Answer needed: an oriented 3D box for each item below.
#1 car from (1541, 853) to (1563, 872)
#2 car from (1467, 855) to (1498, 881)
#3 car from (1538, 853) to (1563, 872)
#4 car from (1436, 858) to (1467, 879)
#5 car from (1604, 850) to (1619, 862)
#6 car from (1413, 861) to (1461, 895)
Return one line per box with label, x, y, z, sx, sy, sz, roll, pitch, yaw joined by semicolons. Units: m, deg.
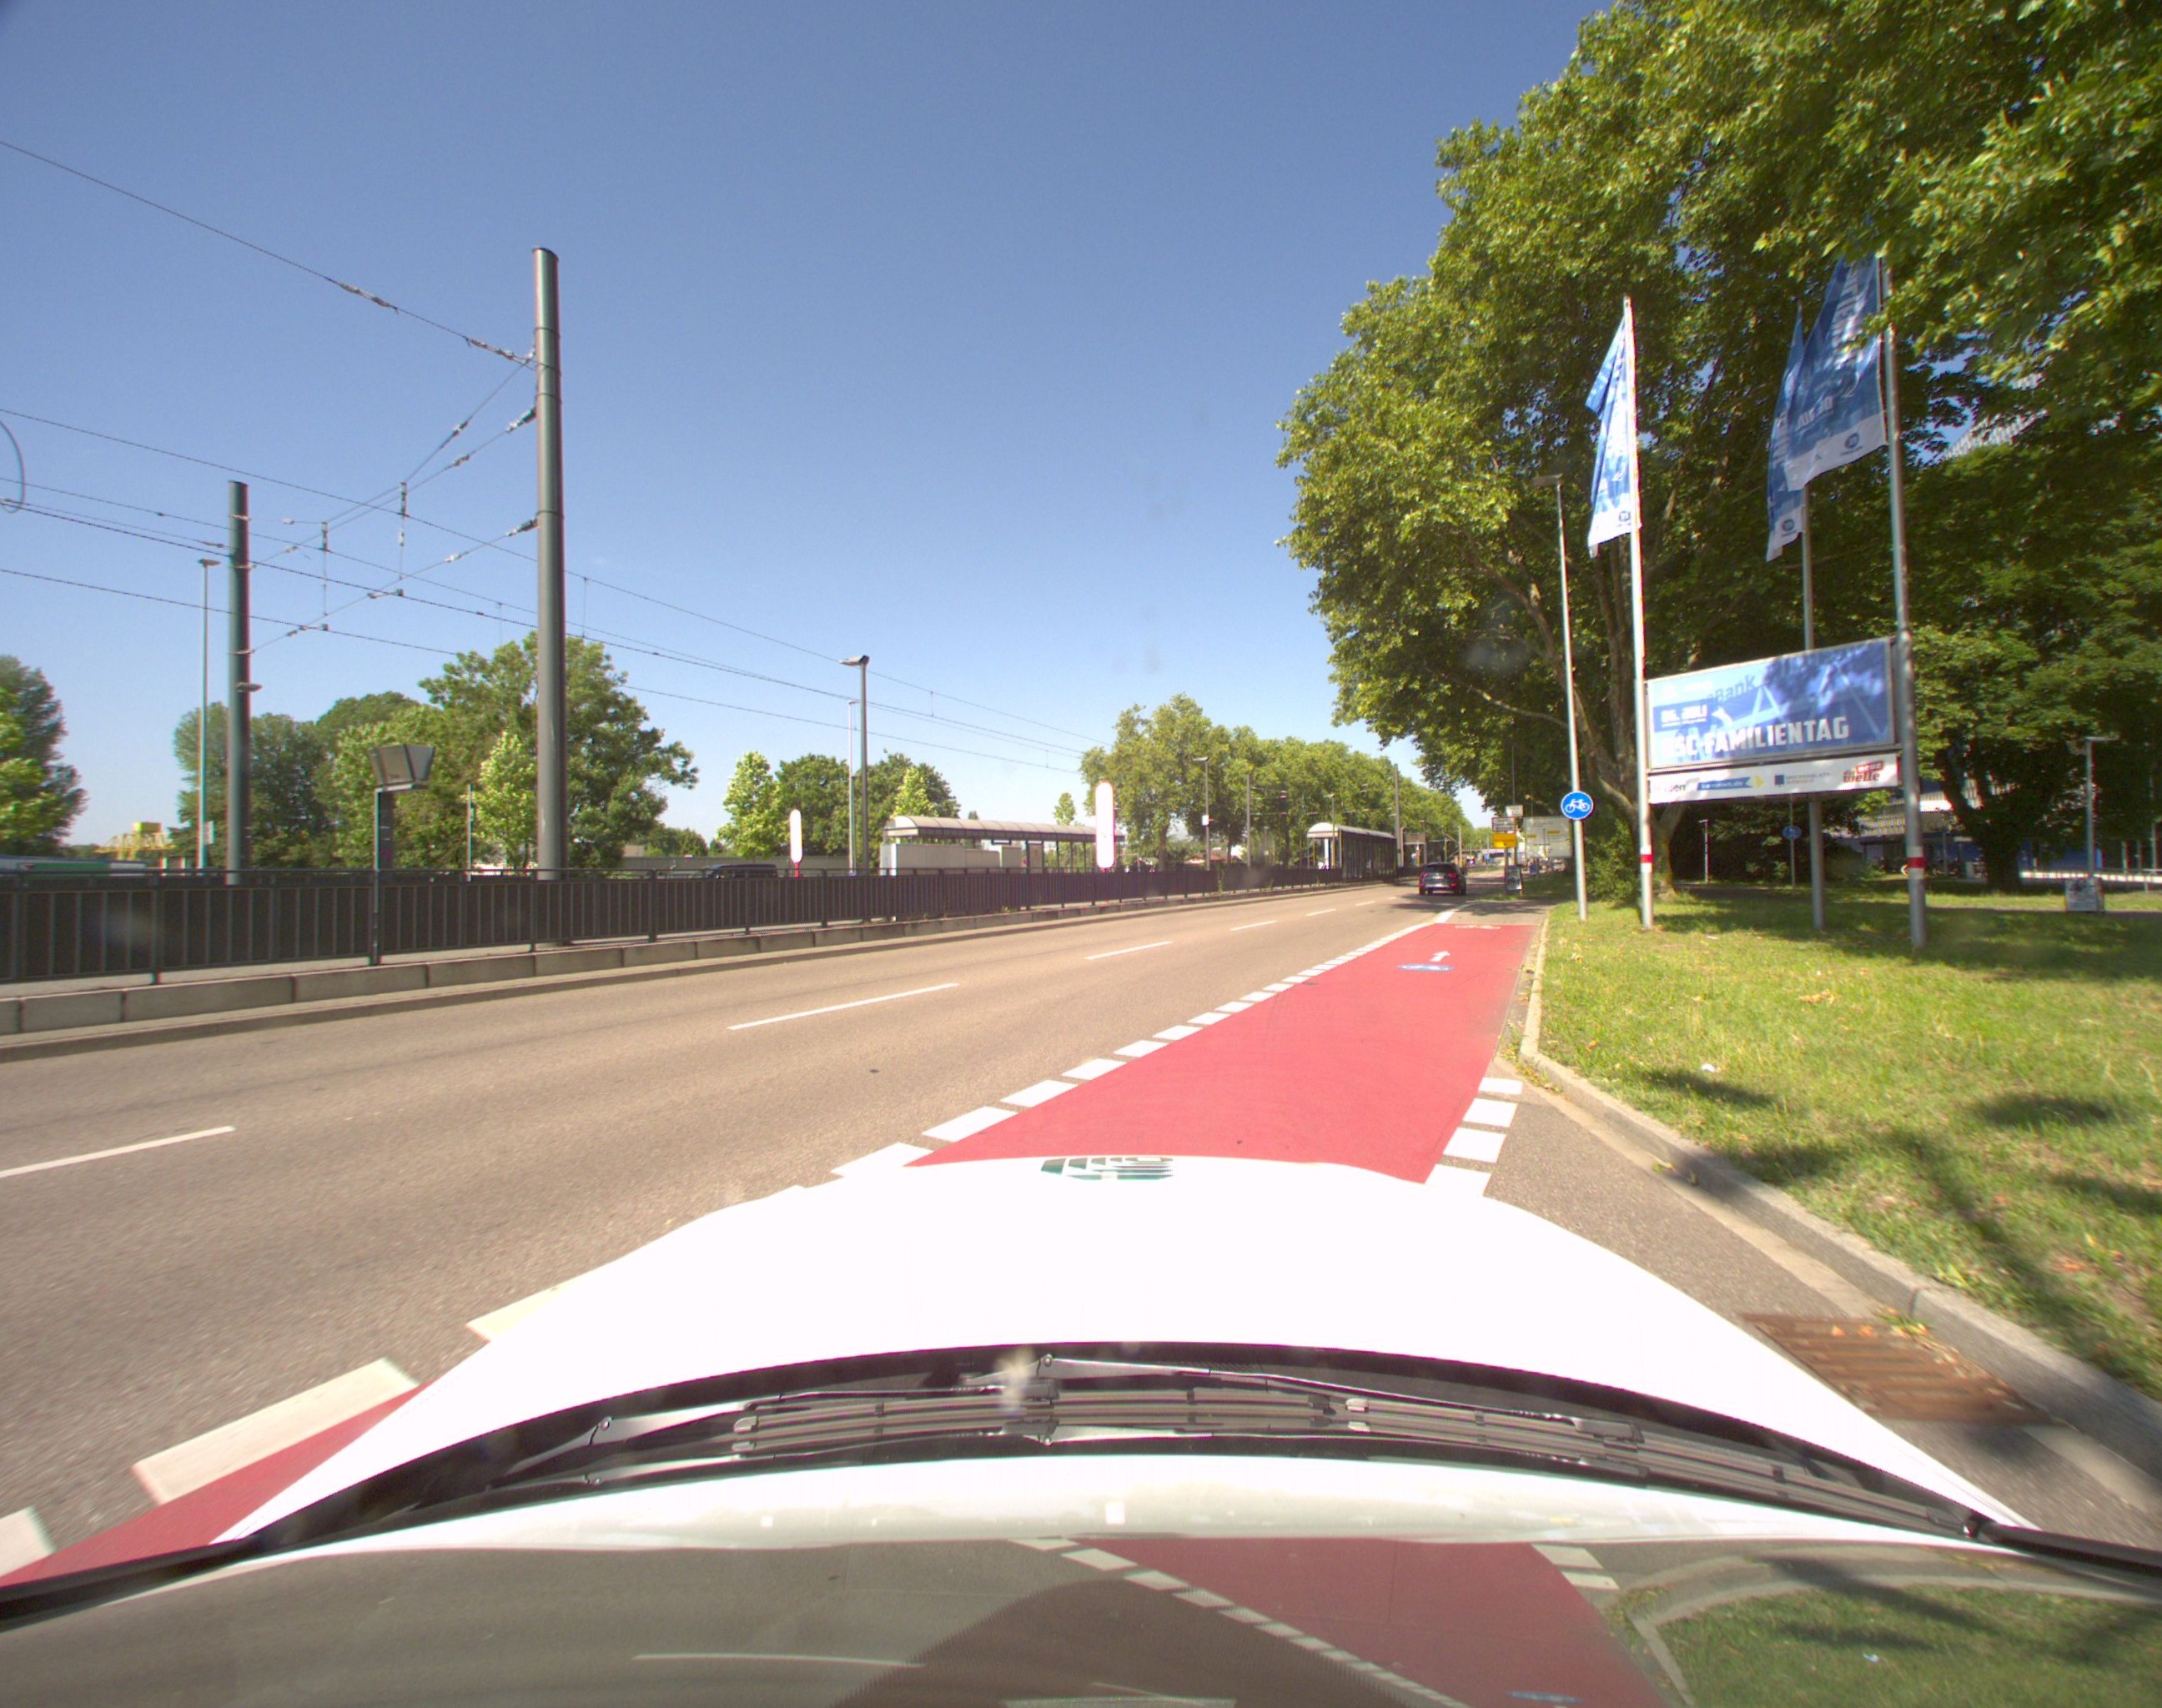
car;52.053;0.954;89.993;1.974;2.014;4.024;-3;-2;30
car;33.121;1.127;67.202;1.974;2.014;4.024;-3;-2;30
car;52.499;0.922;91.087;1.946;2.014;4.025;-3;-2;36
car;31.829;1.248;69.873;1.908;1.713;4.186;-3;-2;31
car;90.934;0.375;139.602;1.974;2.014;4.025;-3;-2;36
car;16.643;1.121;37.978;1.654;1.523;3.397;-1;-2;30
